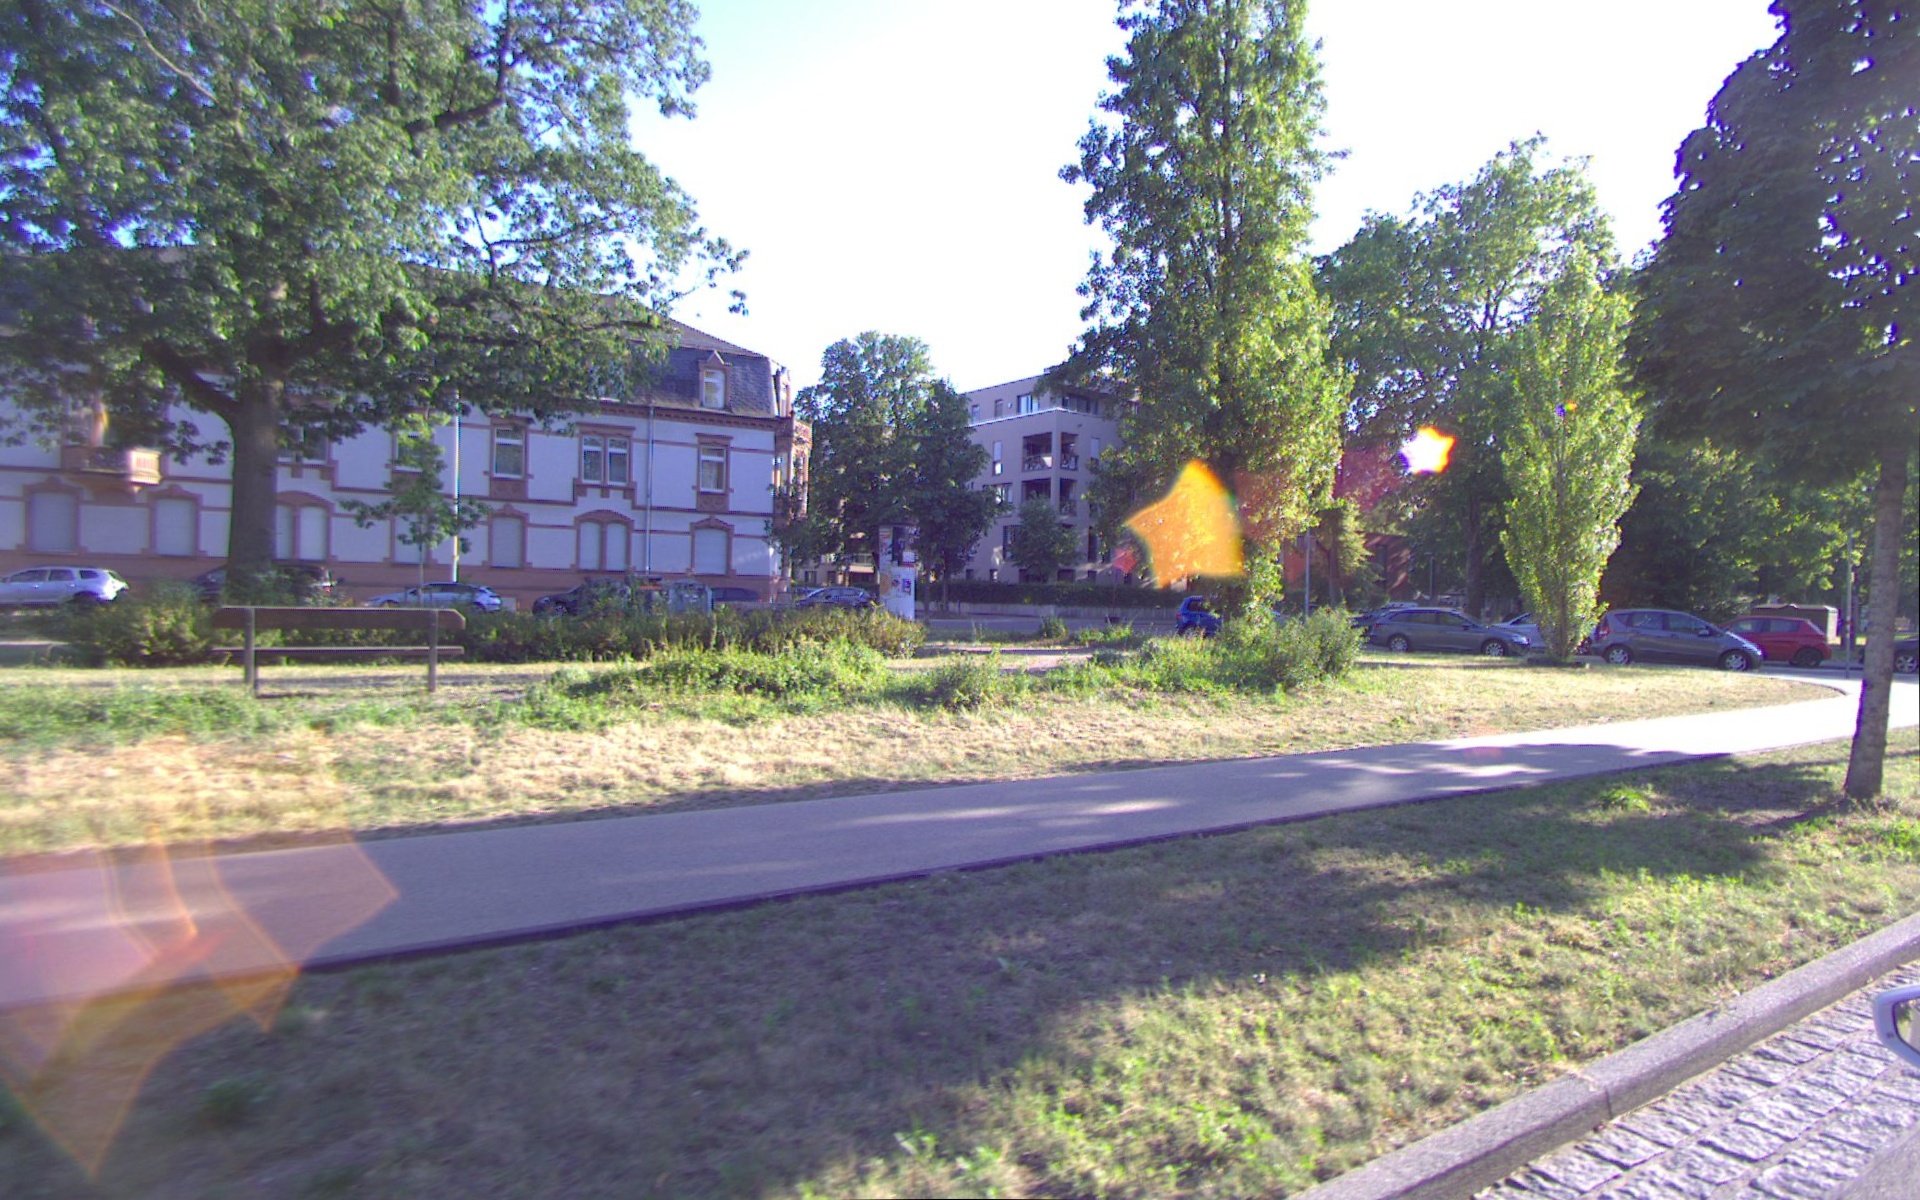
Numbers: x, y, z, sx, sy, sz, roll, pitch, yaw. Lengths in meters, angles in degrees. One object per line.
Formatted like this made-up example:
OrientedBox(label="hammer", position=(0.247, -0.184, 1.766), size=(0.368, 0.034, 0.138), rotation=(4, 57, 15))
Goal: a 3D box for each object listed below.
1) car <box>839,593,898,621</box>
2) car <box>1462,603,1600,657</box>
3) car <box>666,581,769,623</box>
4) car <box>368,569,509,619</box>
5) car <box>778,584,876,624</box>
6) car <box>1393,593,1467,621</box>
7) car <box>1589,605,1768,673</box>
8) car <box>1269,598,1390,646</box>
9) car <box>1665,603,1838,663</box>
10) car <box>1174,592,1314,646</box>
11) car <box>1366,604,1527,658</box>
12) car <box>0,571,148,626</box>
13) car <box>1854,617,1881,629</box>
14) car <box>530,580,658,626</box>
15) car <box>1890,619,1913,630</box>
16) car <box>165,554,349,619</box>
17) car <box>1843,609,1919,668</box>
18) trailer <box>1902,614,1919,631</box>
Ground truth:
OrientedBox(label="car", position=(-5.841, 0.452, 63.472), size=(1.874, 1.595, 3.958), rotation=(3, -1, -37))
OrientedBox(label="car", position=(19.605, 1.017, 34.502), size=(3.933, 1.595, 1.885), rotation=(2, -1, 35))
OrientedBox(label="car", position=(-10.440, 0.088, 43.260), size=(3.951, 1.595, 1.877), rotation=(3, -1, -28))
OrientedBox(label="car", position=(-19.532, -0.207, 37.754), size=(4.542, 1.595, 1.877), rotation=(3, -1, -28))
OrientedBox(label="car", position=(-6.071, 0.188, 45.981), size=(3.960, 1.595, 1.873), rotation=(3, -1, -34))
OrientedBox(label="car", position=(39.542, 0.545, 84.546), size=(2.654, 2.142, 4.915), rotation=(1, 1, -38))
OrientedBox(label="car", position=(19.462, 1.018, 27.432), size=(3.779, 1.653, 1.836), rotation=(2, 0, 32))
OrientedBox(label="car", position=(14.064, 0.830, 38.246), size=(3.934, 1.595, 1.885), rotation=(2, -1, 35))
OrientedBox(label="car", position=(24.382, 1.005, 31.140), size=(3.929, 1.595, 1.887), rotation=(2, -1, 31))
OrientedBox(label="car", position=(9.663, 0.621, 34.293), size=(4.207, 1.665, 1.834), rotation=(2, 0, 36))
OrientedBox(label="car", position=(14.777, 0.911, 30.558), size=(4.204, 1.419, 1.835), rotation=(2, 0, 33))
OrientedBox(label="car", position=(-29.629, -0.069, 32.723), size=(4.537, 1.595, 1.879), rotation=(3, -1, -25))
OrientedBox(label="car", position=(126.566, 3.229, 140.073), size=(4.074, 1.528, 1.981), rotation=(2, 0, -35))
OrientedBox(label="car", position=(-14.791, 0.138, 40.626), size=(4.549, 1.595, 1.874), rotation=(3, -1, -32))
OrientedBox(label="car", position=(140.380, 3.638, 149.779), size=(3.960, 1.438, 1.743), rotation=(2, 0, -35))
OrientedBox(label="car", position=(-24.411, -0.433, 35.140), size=(4.909, 1.918, 1.879), rotation=(3, -1, -25))
OrientedBox(label="car", position=(28.062, 1.177, 28.683), size=(3.929, 1.595, 1.887), rotation=(2, -1, 31))
OrientedBox(label="trailer", position=(147.902, 3.475, 154.804), size=(6.978, 2.522, 2.443), rotation=(2, 0, -35))
